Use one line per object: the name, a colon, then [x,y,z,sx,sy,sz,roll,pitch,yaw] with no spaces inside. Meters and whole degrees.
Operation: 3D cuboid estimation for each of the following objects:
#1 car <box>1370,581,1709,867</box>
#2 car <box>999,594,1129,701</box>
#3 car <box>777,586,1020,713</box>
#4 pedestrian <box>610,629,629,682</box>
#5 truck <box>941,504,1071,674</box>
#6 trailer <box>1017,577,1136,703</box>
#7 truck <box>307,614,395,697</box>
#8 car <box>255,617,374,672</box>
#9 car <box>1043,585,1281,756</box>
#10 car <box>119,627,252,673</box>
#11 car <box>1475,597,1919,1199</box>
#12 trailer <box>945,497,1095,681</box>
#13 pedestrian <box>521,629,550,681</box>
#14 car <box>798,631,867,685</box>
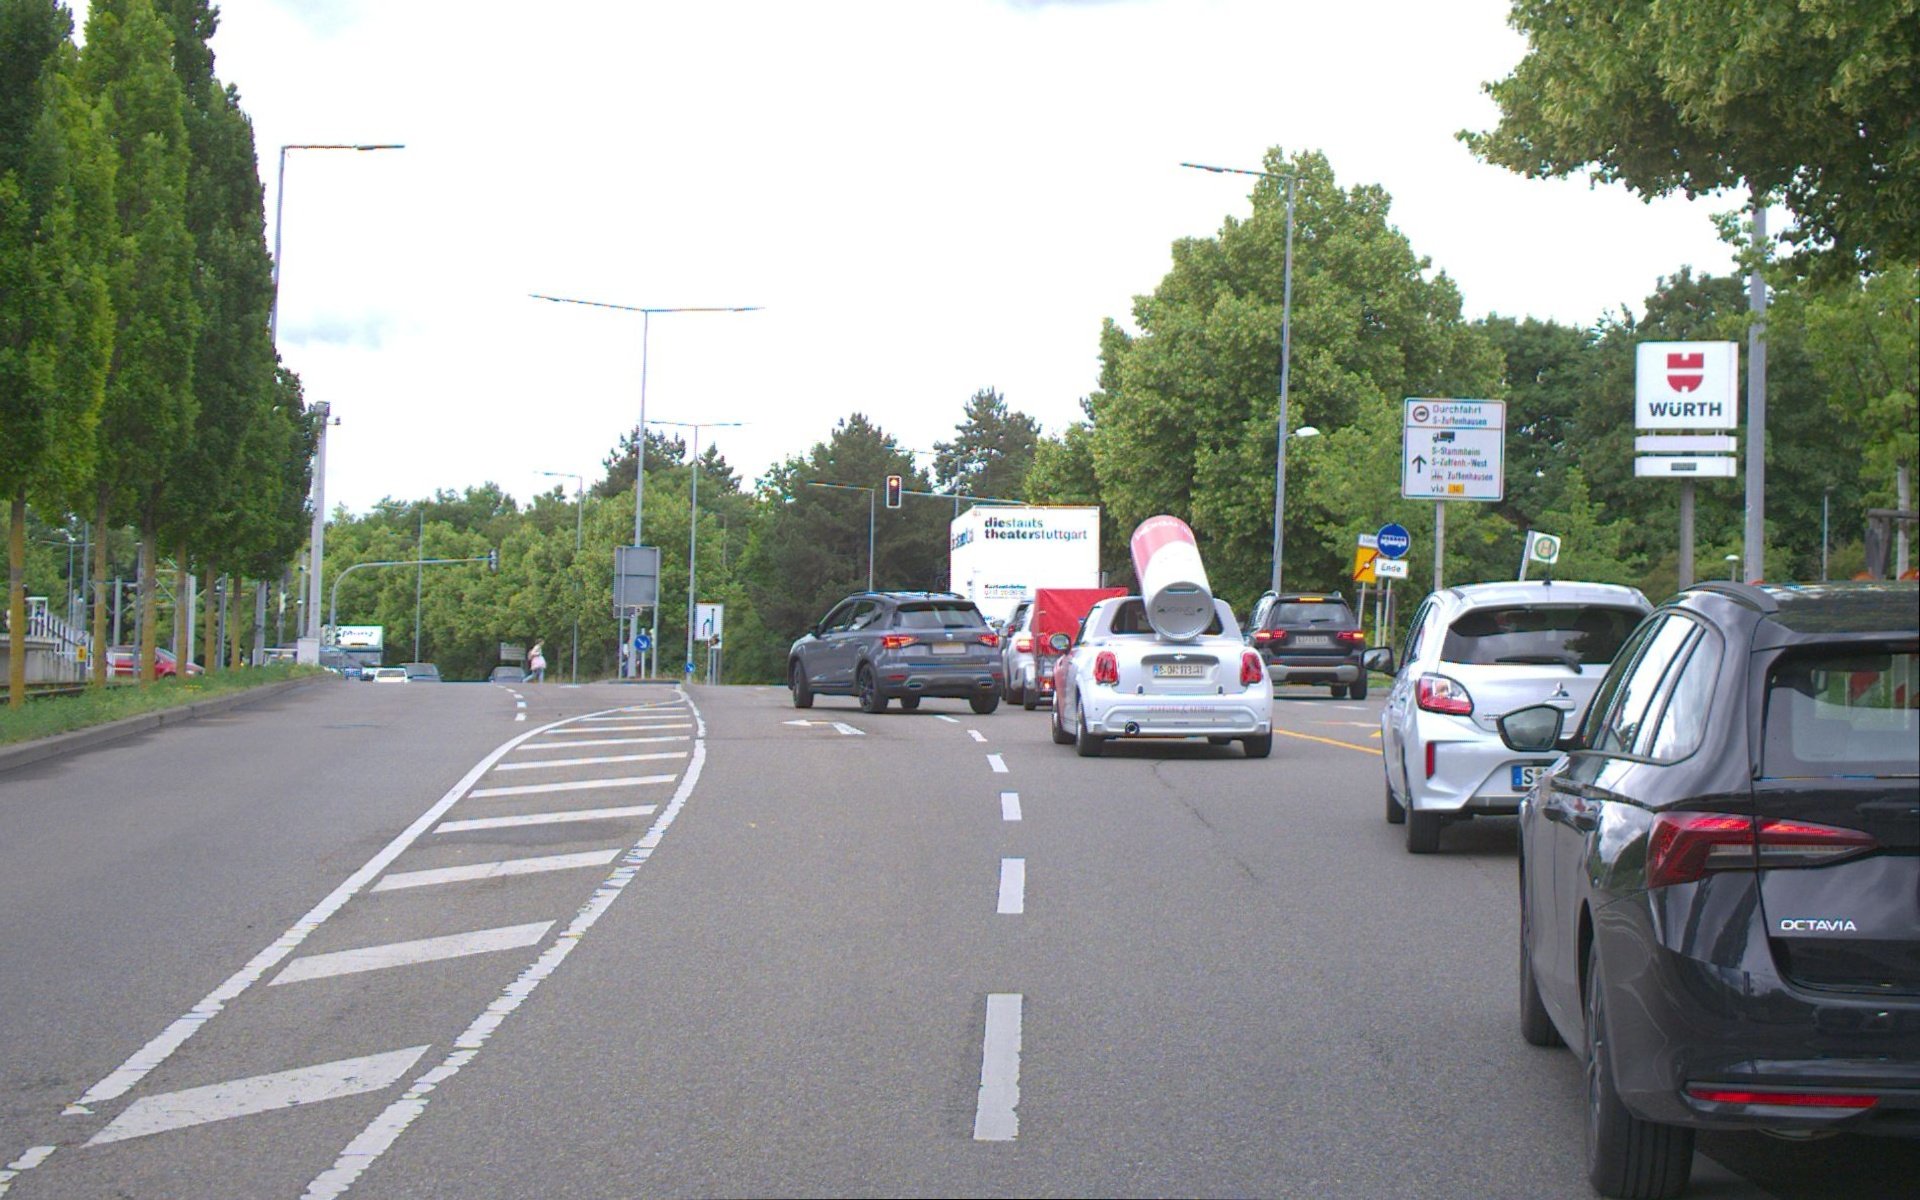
car: [3.239,0.635,19.784,1.623,1.452,3.688,1,1,5]
car: [1.452,0.674,49.355,1.671,1.443,4.489,1,-1,-1]
car: [-0.842,0.598,43.994,1.698,1.481,4.001,0,1,-24]
pedestrian: [-10.593,1.732,106.965,0.586,1.616,0.423,0,1,-6]
truck: [0.990,-0.229,77.015,2.570,3.693,4.106,0,0,-4]
trailer: [1.511,0.518,45.462,1.409,1.588,3.303,0,0,-1]
truck: [-29.428,2.617,165.819,2.659,3.637,9.505,2,0,-19]
car: [-20.873,1.441,111.321,3.694,1.568,1.731,3,-2,-9]
car: [1.785,0.630,31.411,1.718,1.452,3.697,1,-1,-4]
car: [-26.260,1.696,116.557,4.077,1.483,1.706,0,-2,20]
car: [2.417,0.719,9.085,1.836,1.428,4.277,1,0,5]
trailer: [1.201,-0.226,73.124,2.565,3.693,7.765,0,0,-3]
pedestrian: [-12.965,1.686,105.116,0.863,1.555,0.518,0,1,-6]
car: [-3.554,1.623,95.100,1.721,1.417,4.356,0,-2,-4]
